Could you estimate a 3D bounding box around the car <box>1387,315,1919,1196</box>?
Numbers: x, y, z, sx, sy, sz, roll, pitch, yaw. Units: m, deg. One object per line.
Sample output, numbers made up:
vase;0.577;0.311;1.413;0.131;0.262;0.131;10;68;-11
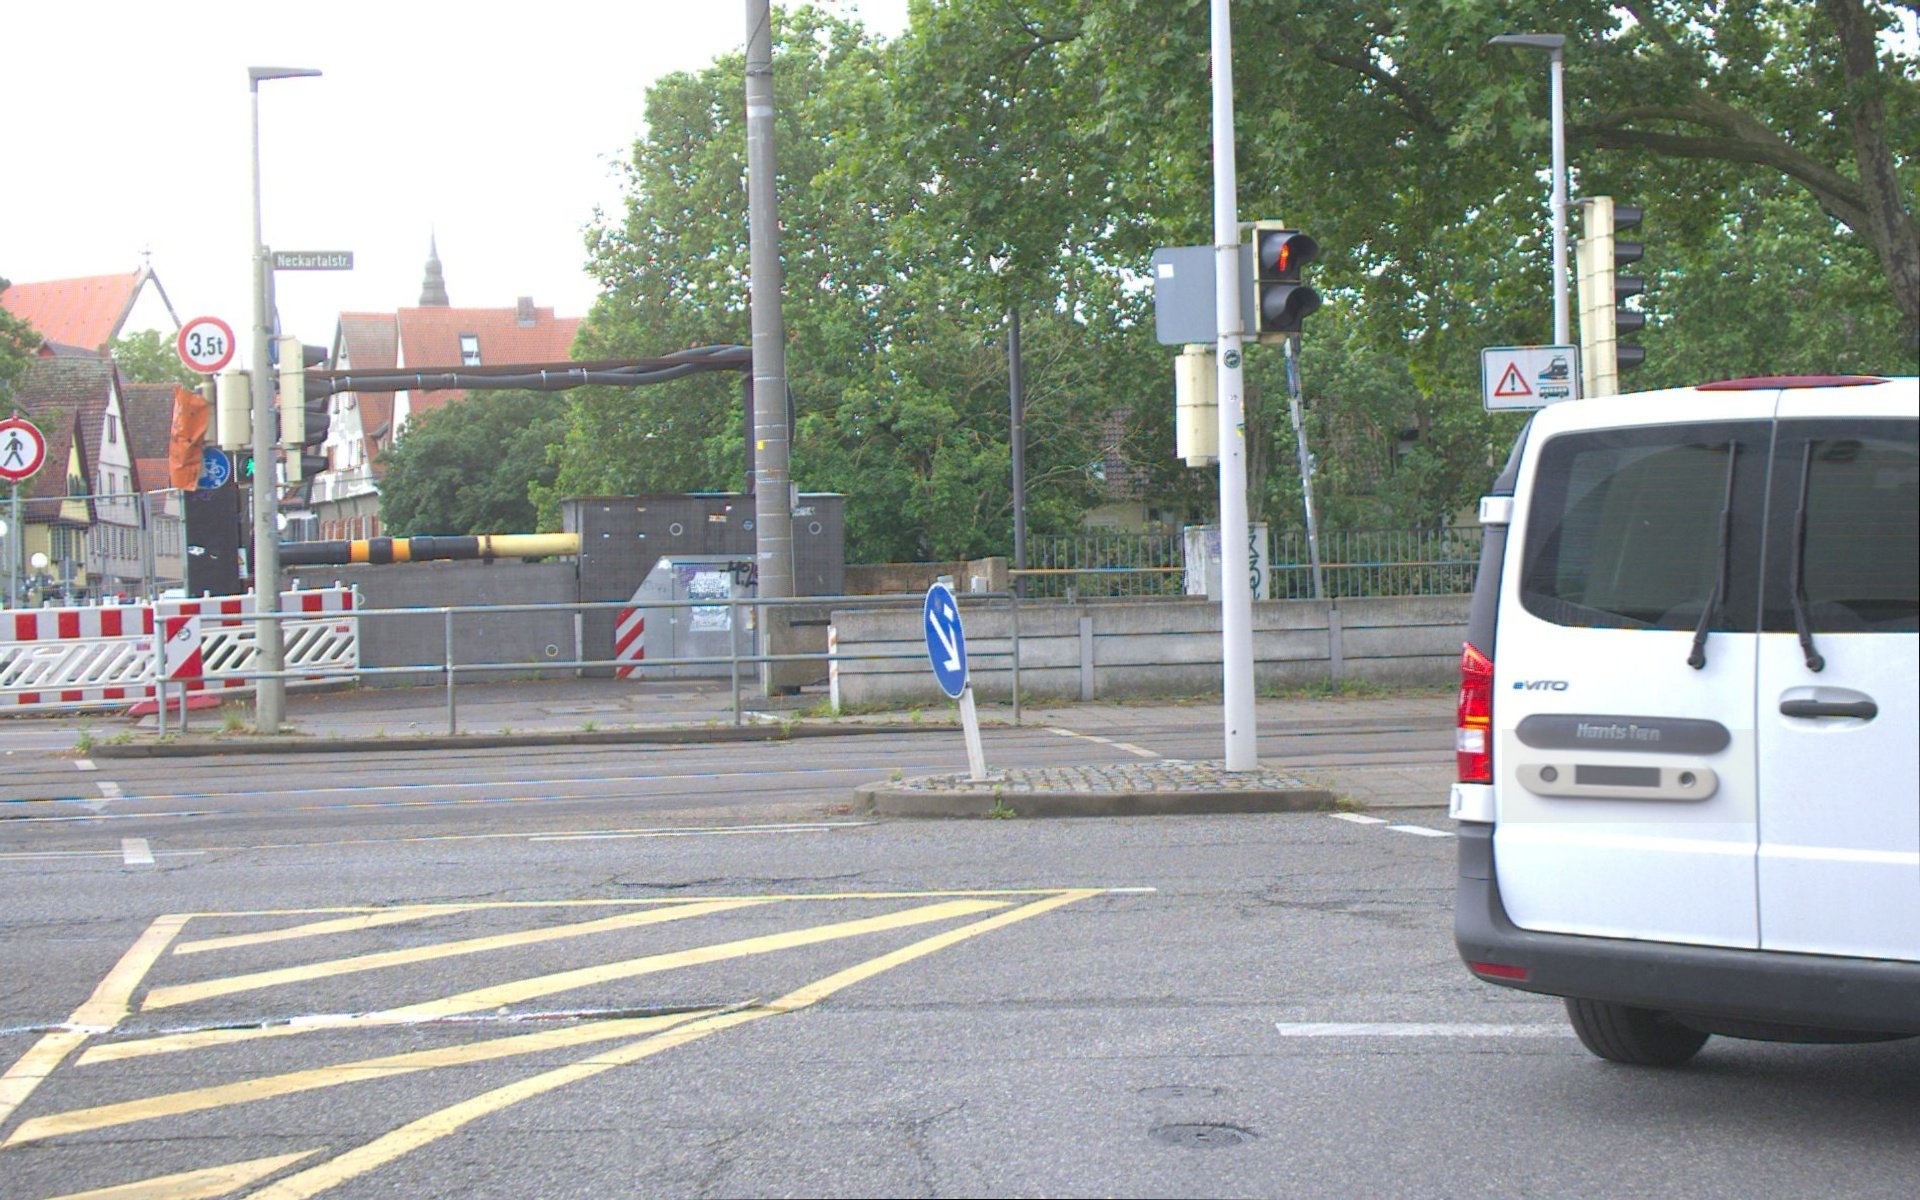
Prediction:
car;3.315;0.315;9.929;1.955;2.007;4.687;1;1;39
